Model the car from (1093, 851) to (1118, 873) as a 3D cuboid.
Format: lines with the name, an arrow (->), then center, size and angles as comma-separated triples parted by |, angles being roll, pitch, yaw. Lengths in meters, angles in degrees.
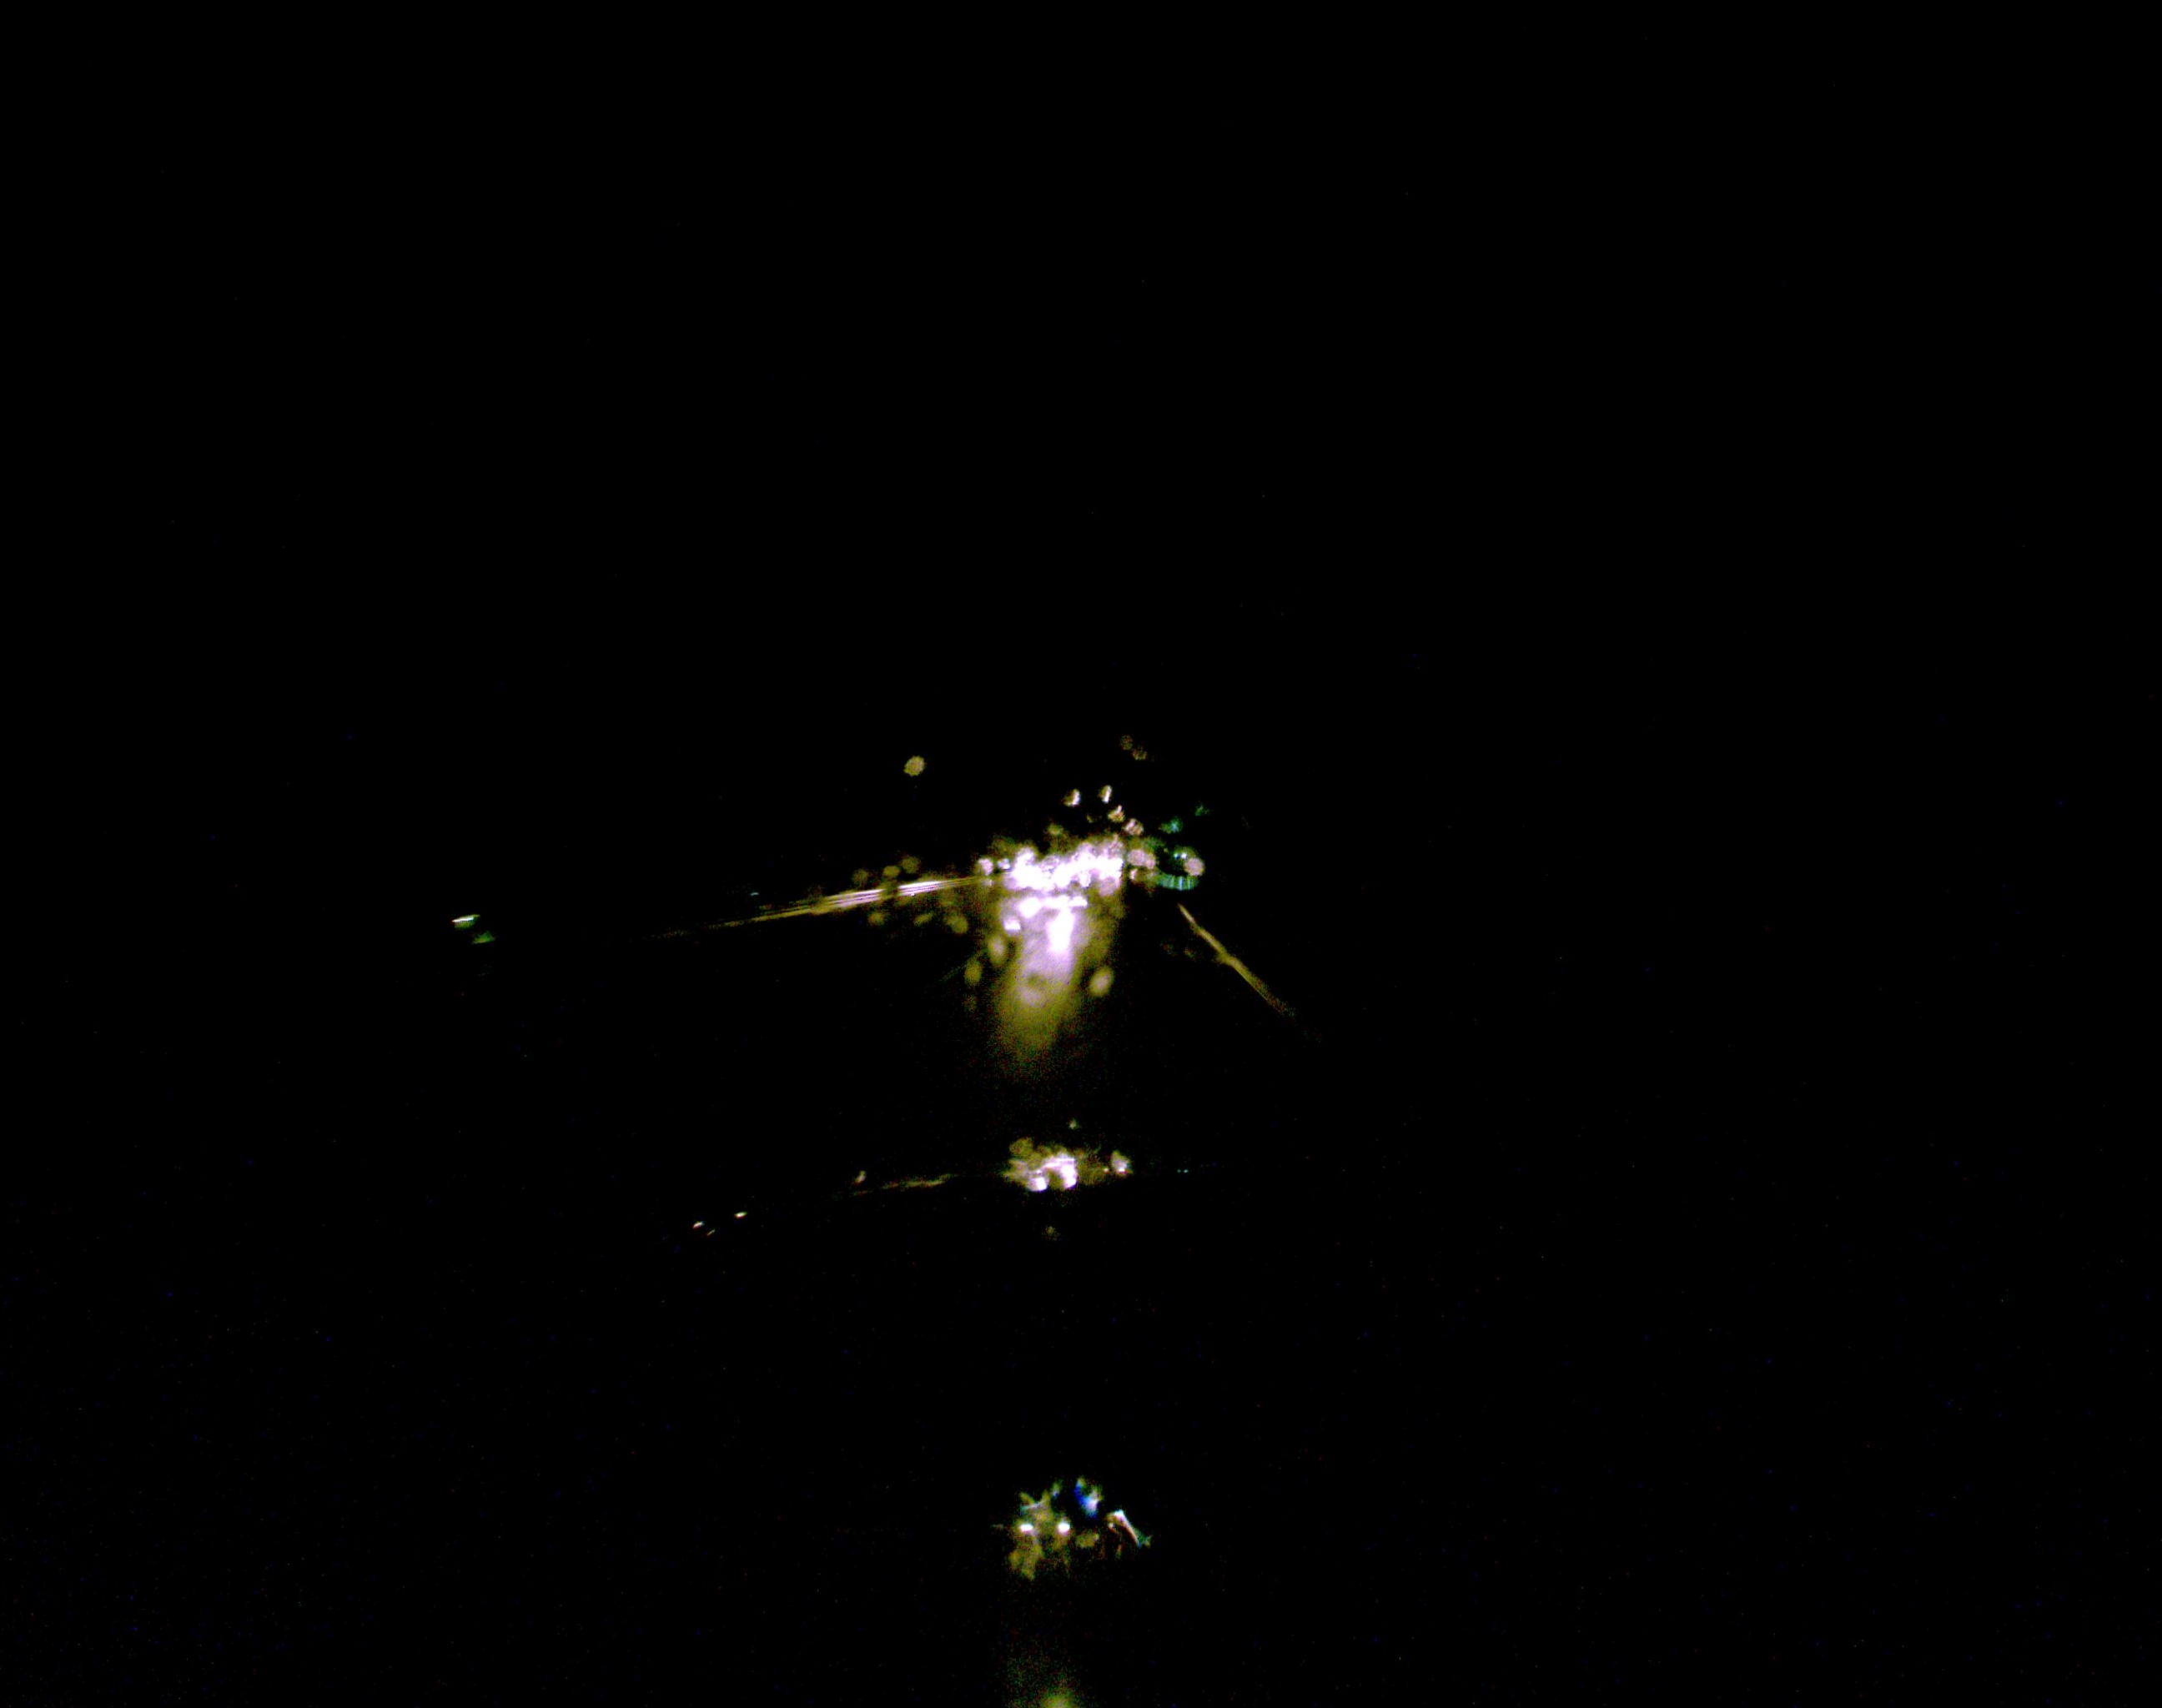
car -> 2.252, 0.708, 73.683 | 1.986, 1.655, 4.003 | -5, 1, 3

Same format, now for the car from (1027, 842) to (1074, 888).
car -> -1.282, 0.471, 35.687 | 1.750, 1.868, 4.002 | -1, 0, 2
